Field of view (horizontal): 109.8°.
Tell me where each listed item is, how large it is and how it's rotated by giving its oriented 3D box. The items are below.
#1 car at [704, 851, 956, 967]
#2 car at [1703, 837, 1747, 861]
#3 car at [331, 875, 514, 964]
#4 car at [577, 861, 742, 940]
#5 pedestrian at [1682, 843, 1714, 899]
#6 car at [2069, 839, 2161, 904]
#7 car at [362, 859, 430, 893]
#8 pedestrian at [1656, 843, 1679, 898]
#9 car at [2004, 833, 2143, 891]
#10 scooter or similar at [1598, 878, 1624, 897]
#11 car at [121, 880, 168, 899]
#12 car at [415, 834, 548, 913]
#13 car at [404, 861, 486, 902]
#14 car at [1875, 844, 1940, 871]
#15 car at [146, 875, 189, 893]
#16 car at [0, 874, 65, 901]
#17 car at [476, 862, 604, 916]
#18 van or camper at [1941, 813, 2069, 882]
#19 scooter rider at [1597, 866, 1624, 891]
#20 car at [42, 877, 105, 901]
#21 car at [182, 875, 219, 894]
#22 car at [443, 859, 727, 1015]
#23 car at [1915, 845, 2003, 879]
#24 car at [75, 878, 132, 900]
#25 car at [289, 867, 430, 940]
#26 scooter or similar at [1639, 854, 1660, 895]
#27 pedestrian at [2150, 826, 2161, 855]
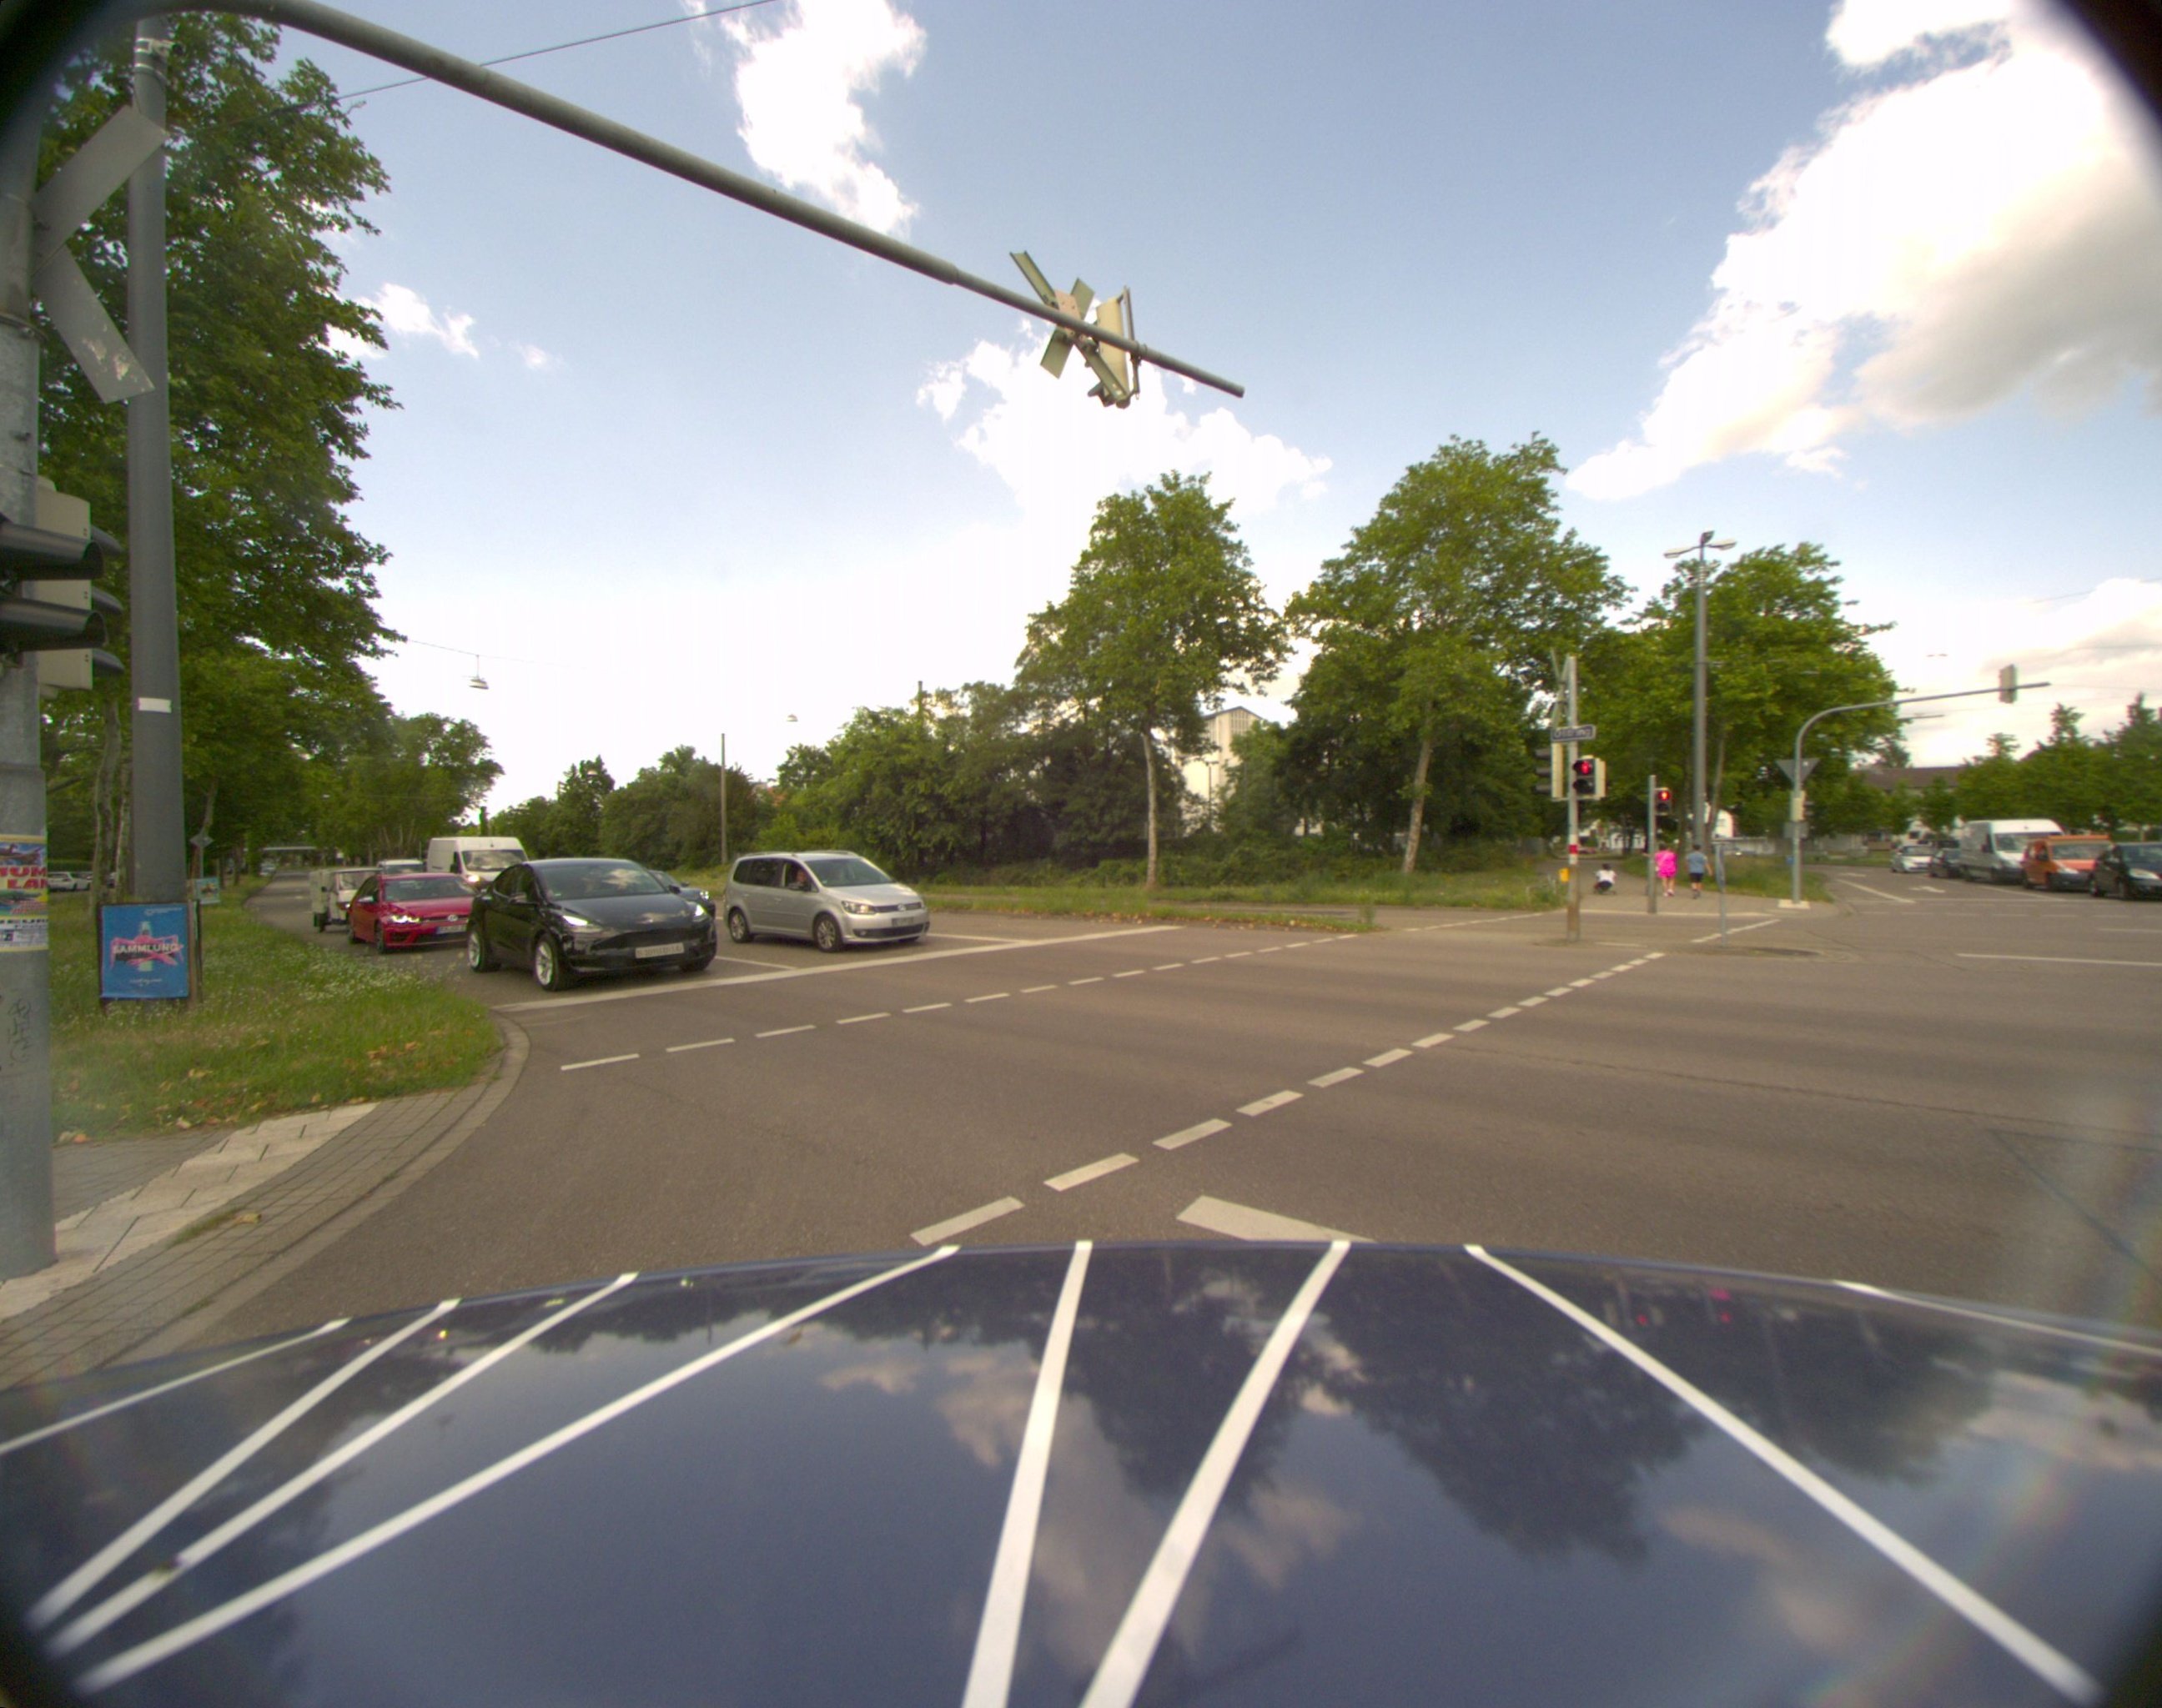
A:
[{"bbox_3d":[-4.513,0.832,13.378,4.489,1.643,1.934,-1,2,37],"label":"car"},{"bbox_3d":[61.281,-0.498,72.400,1.851,2.143,4.389,-1,1,20],"label":"car"},{"bbox_3d":[-13.233,1.184,15.179,4.489,1.383,1.805,-1,2,37],"label":"car"},{"bbox_3d":[-9.570,0.950,17.151,3.988,1.500,1.808,0,3,39],"label":"car"},{"bbox_3d":[17.912,0.490,22.066,0.612,1.610,0.631,-2,1,-44],"label":"pedestrian"},{"bbox_3d":[28.952,0.426,20.604,1.731,1.621,4.061,0,1,39],"label":"car"},{"bbox_3d":[-35.252,1.089,39.080,4.331,1.637,1.768,-1,1,37],"label":"car"},{"bbox_3d":[17.482,0.482,22.649,0.597,1.610,0.420,-2,1,-44],"label":"pedestrian"},{"bbox_3d":[33.072,0.225,25.483,1.879,1.789,4.379,0,1,39],"label":"car"},{"bbox_3d":[15.818,0.993,22.677,0.610,0.508,0.859,-3,-1,35],"label":"scooter or similar"},{"bbox_3d":[-83.192,3.145,67.537,1.780,1.586,3.647,-2,-1,-37],"label":"car"},{"bbox_3d":[-21.685,0.630,27.384,5.916,2.516,2.231,-1,2,37],"label":"car"},{"bbox_3d":[-27.555,1.133,32.884,4.144,1.609,1.847,-1,2,39],"label":"car"},{"bbox_3d":[46.106,0.186,42.462,1.806,1.423,4.392,0,1,39],"label":"car"},{"bbox_3d":[-88.345,2.895,73.507,1.780,1.586,3.647,-2,-1,-37],"label":"car"},{"bbox_3d":[-67.567,2.167,48.808,1.780,1.586,3.647,-2,-1,-37],"label":"car"},{"bbox_3d":[-15.940,0.968,22.319,4.331,1.367,1.768,-1,2,37],"label":"car"},{"bbox_3d":[37.183,-0.244,30.781,1.976,2.510,6.050,0,0,38],"label":"van or camper"},{"bbox_3d":[15.798,0.729,22.673,0.610,0.724,0.861,-3,-1,36],"label":"scooter rider"},{"bbox_3d":[-73.714,2.543,55.664,1.780,1.586,3.647,-2,-1,-37],"label":"car"},{"bbox_3d":[-94.683,3.305,81.726,1.780,1.925,3.647,-2,-1,-37],"label":"car"},{"bbox_3d":[-7.059,0.948,10.634,4.566,1.643,1.935,0,2,39],"label":"car"},{"bbox_3d":[41.072,0.344,35.656,1.806,1.423,4.477,0,1,37],"label":"car"},{"bbox_3d":[-76.060,2.702,59.174,1.780,1.586,3.647,-2,-1,-37],"label":"car"},{"bbox_3d":[-18.297,1.153,19.205,4.489,1.561,1.805,-1,2,37],"label":"car"},{"bbox_3d":[17.268,0.623,23.066,0.777,1.225,0.321,-2,-1,-41],"label":"scooter or similar"},{"bbox_3d":[76.394,-0.966,53.375,1.103,2.002,1.179,0,1,27],"label":"pedestrian"}]
